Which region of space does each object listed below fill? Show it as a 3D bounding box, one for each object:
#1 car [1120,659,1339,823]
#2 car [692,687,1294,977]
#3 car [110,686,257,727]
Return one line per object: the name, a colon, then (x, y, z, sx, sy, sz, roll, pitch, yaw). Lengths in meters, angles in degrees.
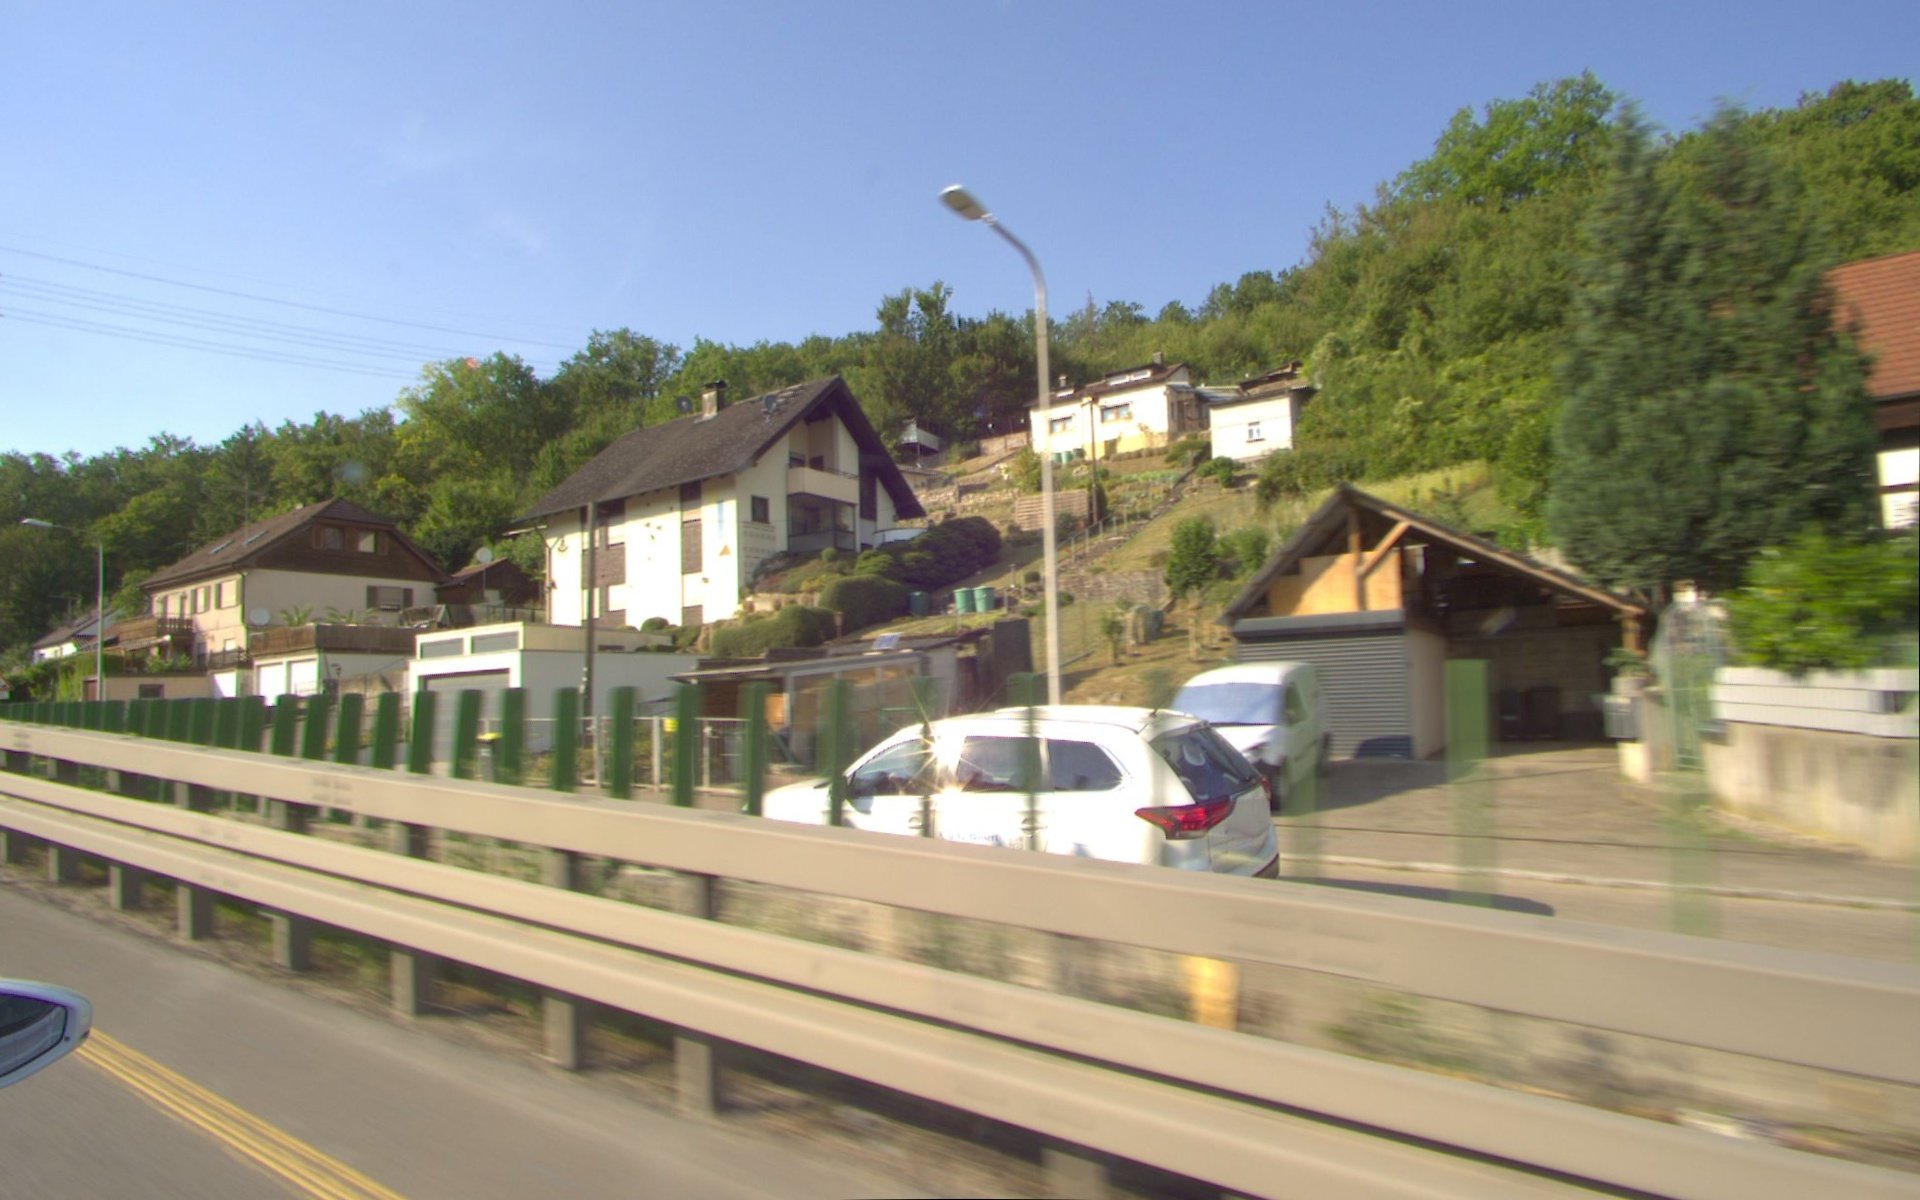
car: (4.025, 1.873, 14.455, 1.826, 1.759, 4.121, -4, -1, 32)
car: (0.074, 1.564, 7.954, 4.587, 1.678, 1.695, -4, -5, 34)
car: (-29.404, 4.067, 38.054, 1.865, 1.458, 3.985, -4, -7, 31)
